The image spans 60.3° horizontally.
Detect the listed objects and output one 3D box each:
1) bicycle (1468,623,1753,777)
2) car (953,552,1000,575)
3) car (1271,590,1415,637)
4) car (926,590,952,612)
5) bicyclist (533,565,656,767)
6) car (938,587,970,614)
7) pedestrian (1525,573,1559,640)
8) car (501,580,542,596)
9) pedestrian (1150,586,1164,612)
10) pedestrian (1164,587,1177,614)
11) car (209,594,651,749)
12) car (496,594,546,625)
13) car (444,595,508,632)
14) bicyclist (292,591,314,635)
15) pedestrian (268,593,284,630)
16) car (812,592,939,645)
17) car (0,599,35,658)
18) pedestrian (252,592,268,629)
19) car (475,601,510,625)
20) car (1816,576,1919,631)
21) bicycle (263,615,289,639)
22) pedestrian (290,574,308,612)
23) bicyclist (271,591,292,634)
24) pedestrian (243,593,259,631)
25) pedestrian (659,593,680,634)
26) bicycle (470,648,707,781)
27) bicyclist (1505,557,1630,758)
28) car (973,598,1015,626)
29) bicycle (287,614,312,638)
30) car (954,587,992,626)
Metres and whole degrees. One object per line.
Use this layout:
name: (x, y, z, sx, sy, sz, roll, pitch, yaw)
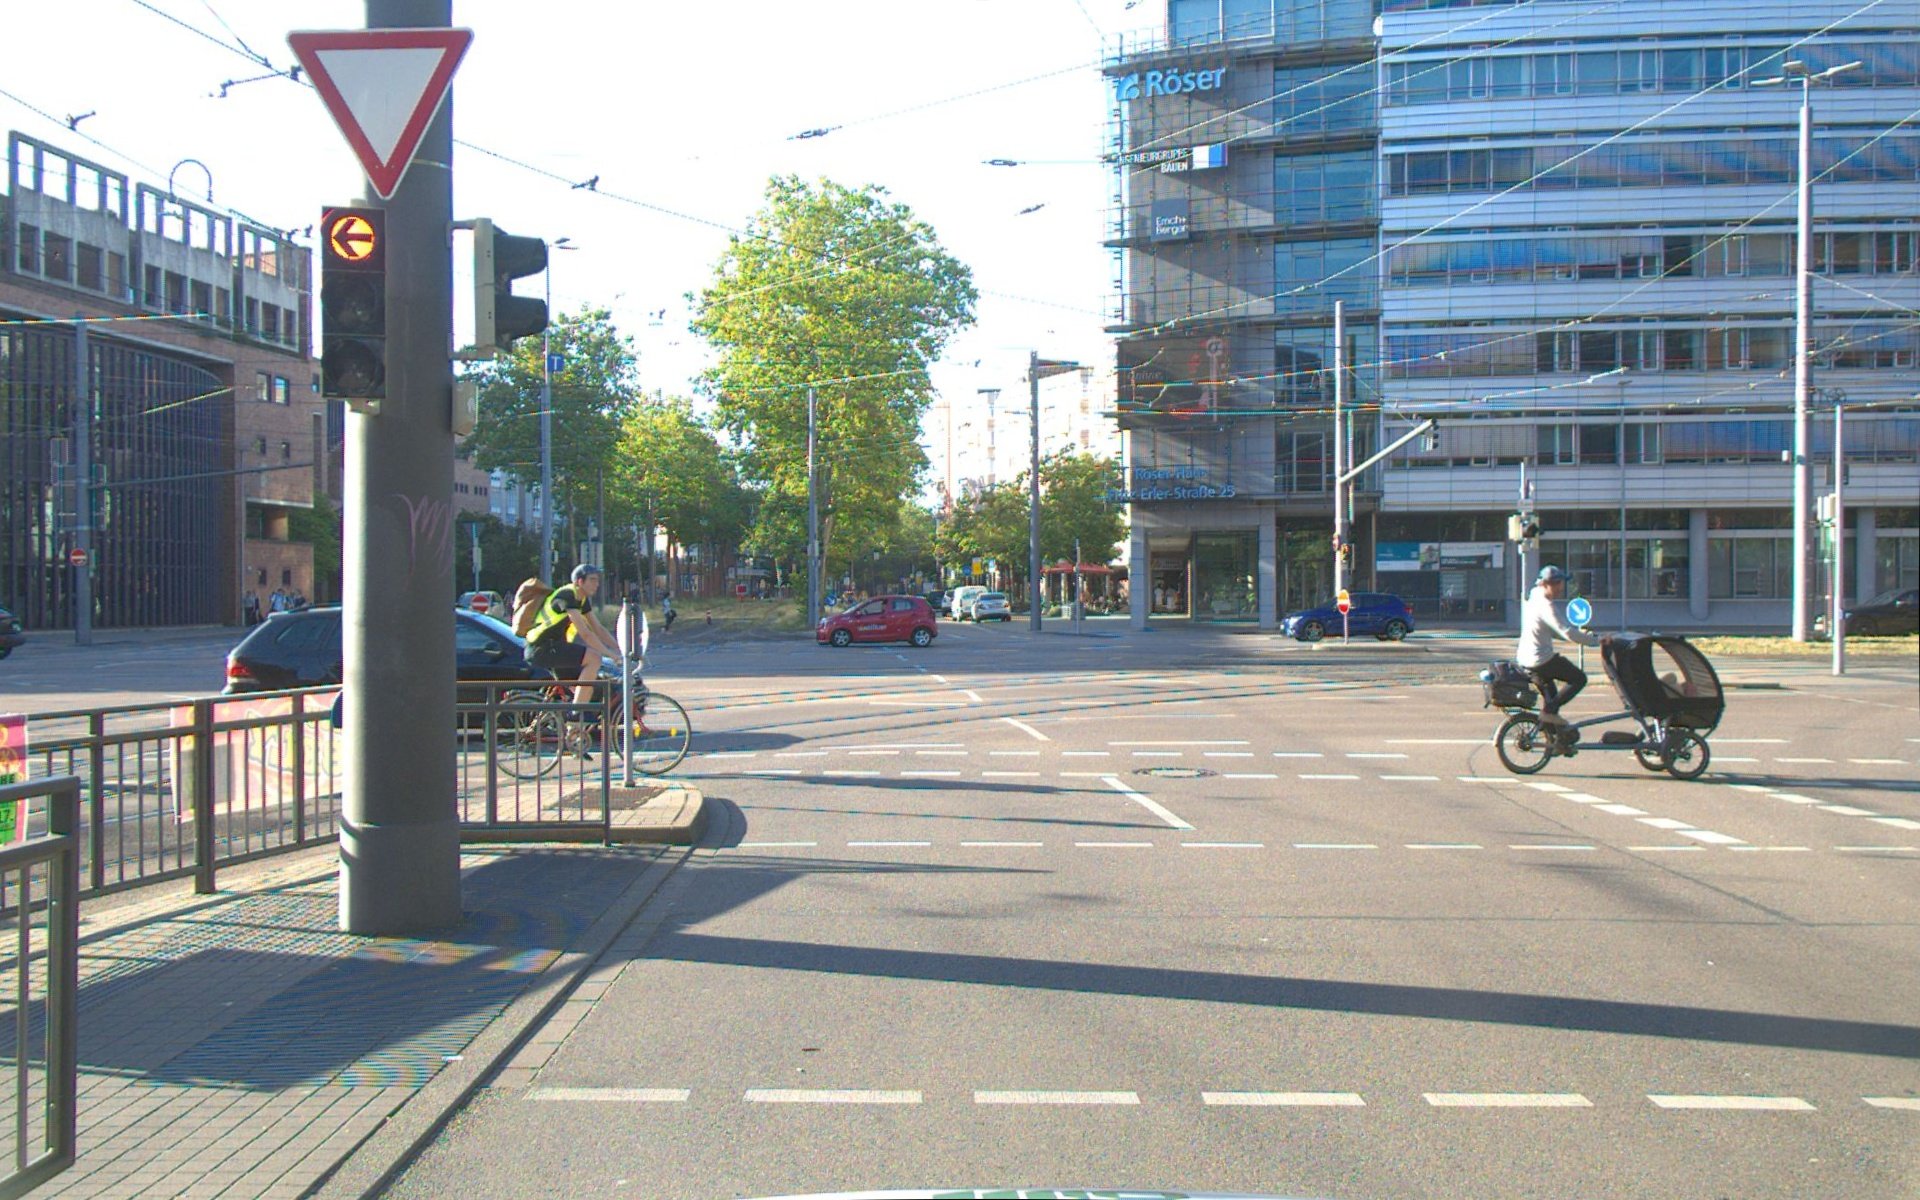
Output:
bicycle: (5.618, 0.840, 14.435, 2.111, 1.248, 1.073, 0, 1, 7)
car: (1.389, -3.095, 140.432, 3.681, 1.780, 1.783, 1, 0, 14)
car: (11.672, 0.399, 50.580, 3.906, 1.371, 1.976, -1, 0, -1)
car: (-1.634, 0.061, 126.754, 1.953, 1.691, 3.999, -1, 0, -1)
bicyclist: (-3.122, 0.551, 14.171, 0.885, 1.693, 0.639, 0, 0, 2)
car: (-0.376, 0.025, 104.999, 1.953, 1.691, 3.999, -1, 0, -1)
pedestrian: (15.117, 0.172, 42.973, 0.704, 1.711, 0.557, 1, 0, 6)
car: (-45.904, -1.228, 173.133, 3.948, 1.579, 1.589, 1, -1, -32)
pedestrian: (11.305, -0.052, 94.861, 0.723, 1.491, 0.537, -1, 0, 8)
pedestrian: (12.028, 0.031, 94.613, 0.691, 1.491, 0.384, -1, 0, 8)
car: (-5.675, 0.728, 18.230, 4.300, 1.544, 1.997, 0, 1, -7)
car: (-23.006, 0.466, 86.763, 1.955, 1.534, 3.994, -1, 0, -6)
car: (-20.900, 0.553, 71.560, 1.955, 1.534, 3.994, -1, 0, -6)
bicyclist: (-26.008, 0.504, 65.479, 0.582, 1.705, 0.788, -1, 0, -7)
pedestrian: (-33.699, 0.562, 81.495, 0.511, 1.810, 0.546, -1, 0, 6)
car: (-2.505, 0.524, 48.548, 3.530, 1.492, 1.791, -1, 0, -10)
car: (-26.553, 0.759, 43.245, 3.800, 1.533, 1.787, -1, 0, -18)
pedestrian: (-34.550, 0.516, 81.664, 0.479, 1.842, 0.546, -1, 0, 6)
car: (-30.850, 0.828, 109.288, 1.873, 1.536, 3.988, 1, 0, -12)
car: (25.457, 0.072, 44.237, 4.151, 1.417, 1.796, -1, 0, 4)
bicycle: (-26.900, 1.057, 65.101, 0.503, 0.897, 1.835, -1, 0, -8)
pedestrian: (-32.483, -0.328, 81.323, 0.627, 1.842, 0.546, -1, 0, 6)
bicyclist: (-26.751, 0.488, 65.212, 0.582, 1.705, 0.788, -1, 0, -7)
pedestrian: (-34.503, 0.566, 80.493, 0.479, 1.842, 0.546, -1, 0, 6)
pedestrian: (-11.089, 0.506, 63.088, 0.740, 1.557, 0.507, 1, 0, -8)
bicycle: (-3.160, 0.966, 14.169, 1.883, 1.083, 0.629, 0, 0, 2)
bicyclist: (5.295, 0.489, 14.459, 0.885, 1.710, 0.691, 0, 0, 6)
car: (1.669, 0.592, 82.875, 1.953, 1.355, 3.999, -1, 0, -1)
bicycle: (-26.106, 1.026, 65.418, 0.503, 0.897, 1.835, -1, 0, -8)
car: (0.678, 0.344, 89.700, 1.953, 2.026, 3.999, -1, 0, -1)
